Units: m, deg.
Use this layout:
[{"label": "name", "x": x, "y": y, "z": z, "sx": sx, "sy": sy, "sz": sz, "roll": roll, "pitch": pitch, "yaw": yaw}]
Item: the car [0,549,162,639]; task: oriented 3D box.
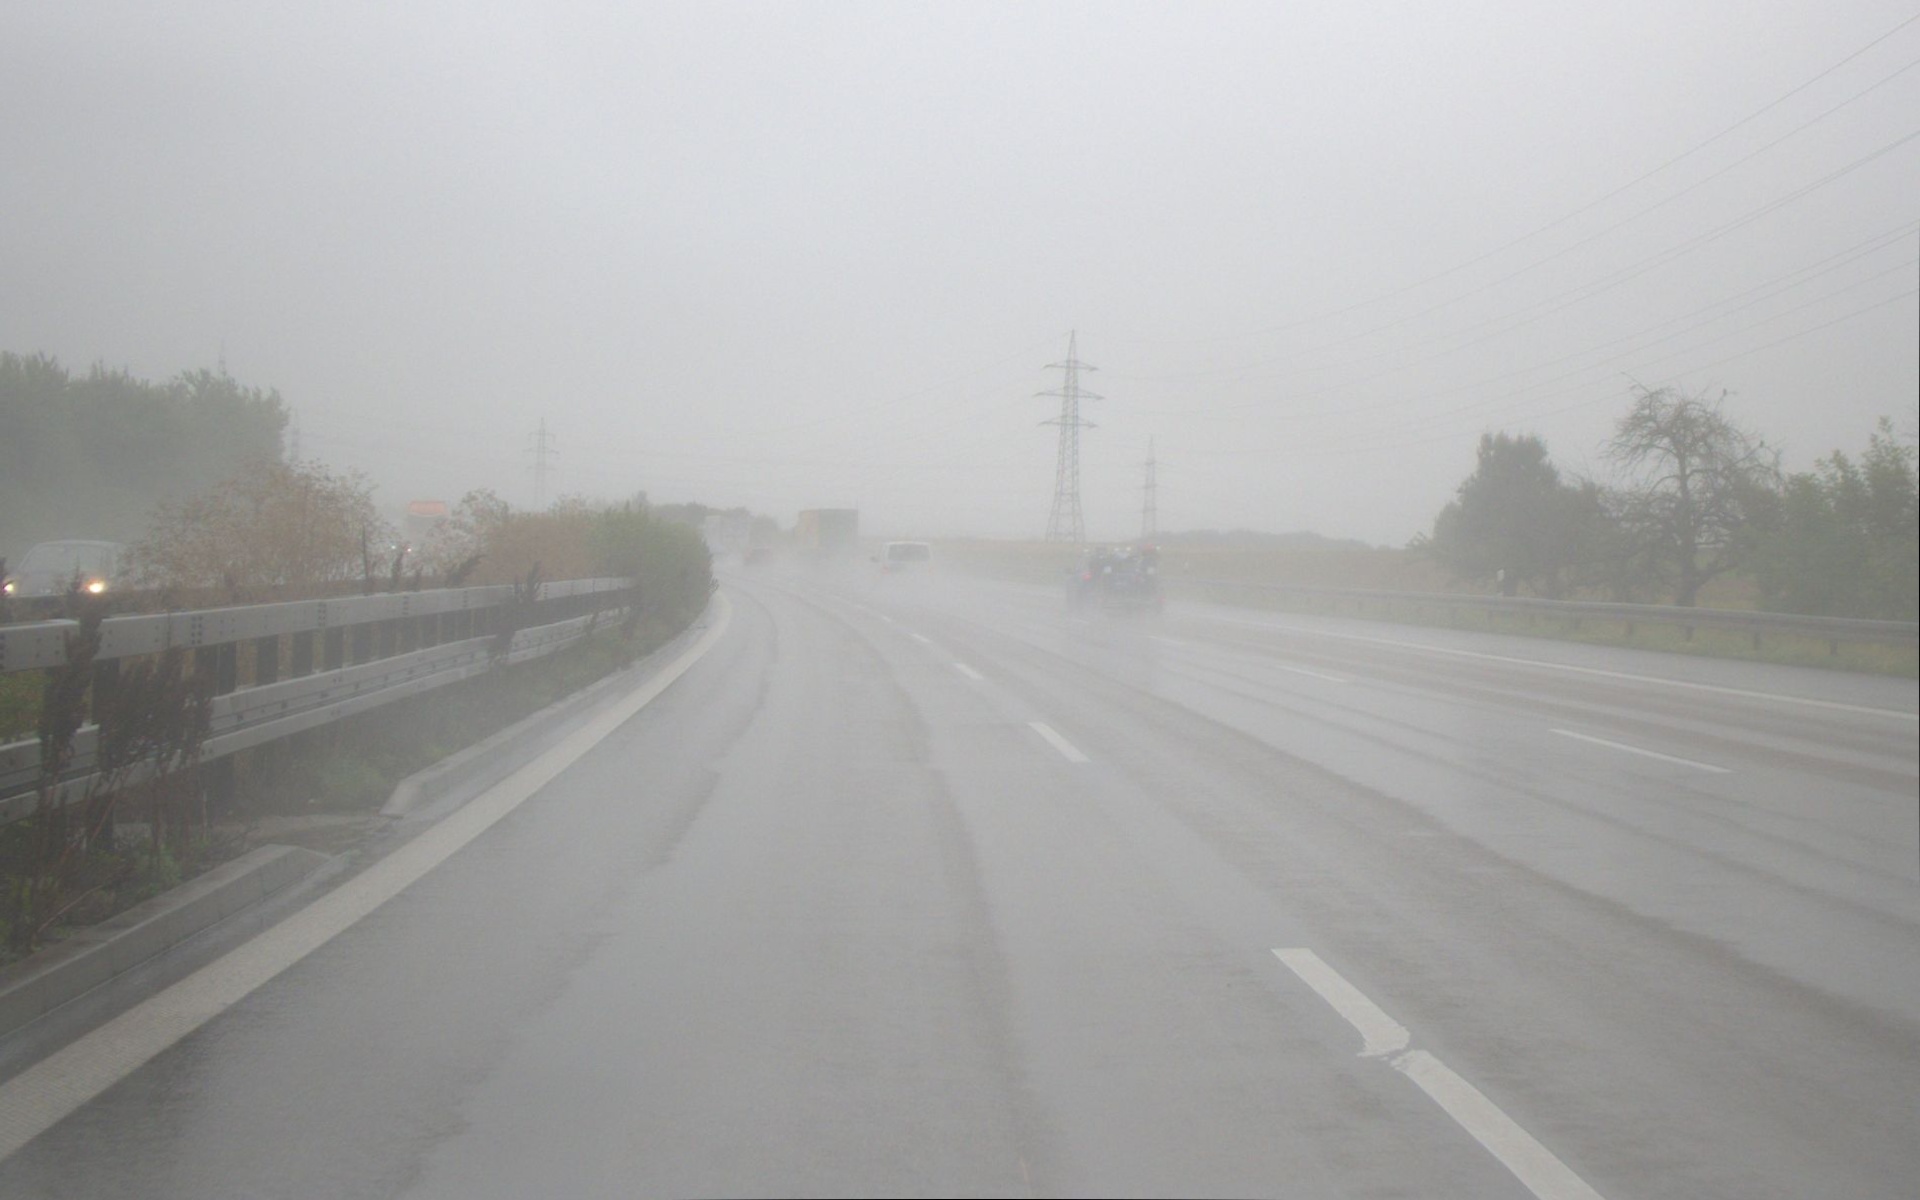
[{"label": "car", "x": -15.169, "y": -0.121, "z": 59.240, "sx": 1.993, "sy": 1.459, "sz": 4.000, "roll": 1, "pitch": 0, "yaw": -2}]

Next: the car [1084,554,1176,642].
[{"label": "car", "x": 4.279, "y": -0.077, "z": 87.042, "sx": 1.807, "sy": 2.151, "sz": 4.001, "roll": 1, "pitch": 1, "yaw": -4}]

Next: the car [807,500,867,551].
[{"label": "car", "x": -7.977, "y": -4.768, "z": 221.816, "sx": 3.199, "sy": 3.182, "sz": 7.258, "roll": 1, "pitch": 1, "yaw": -7}]
